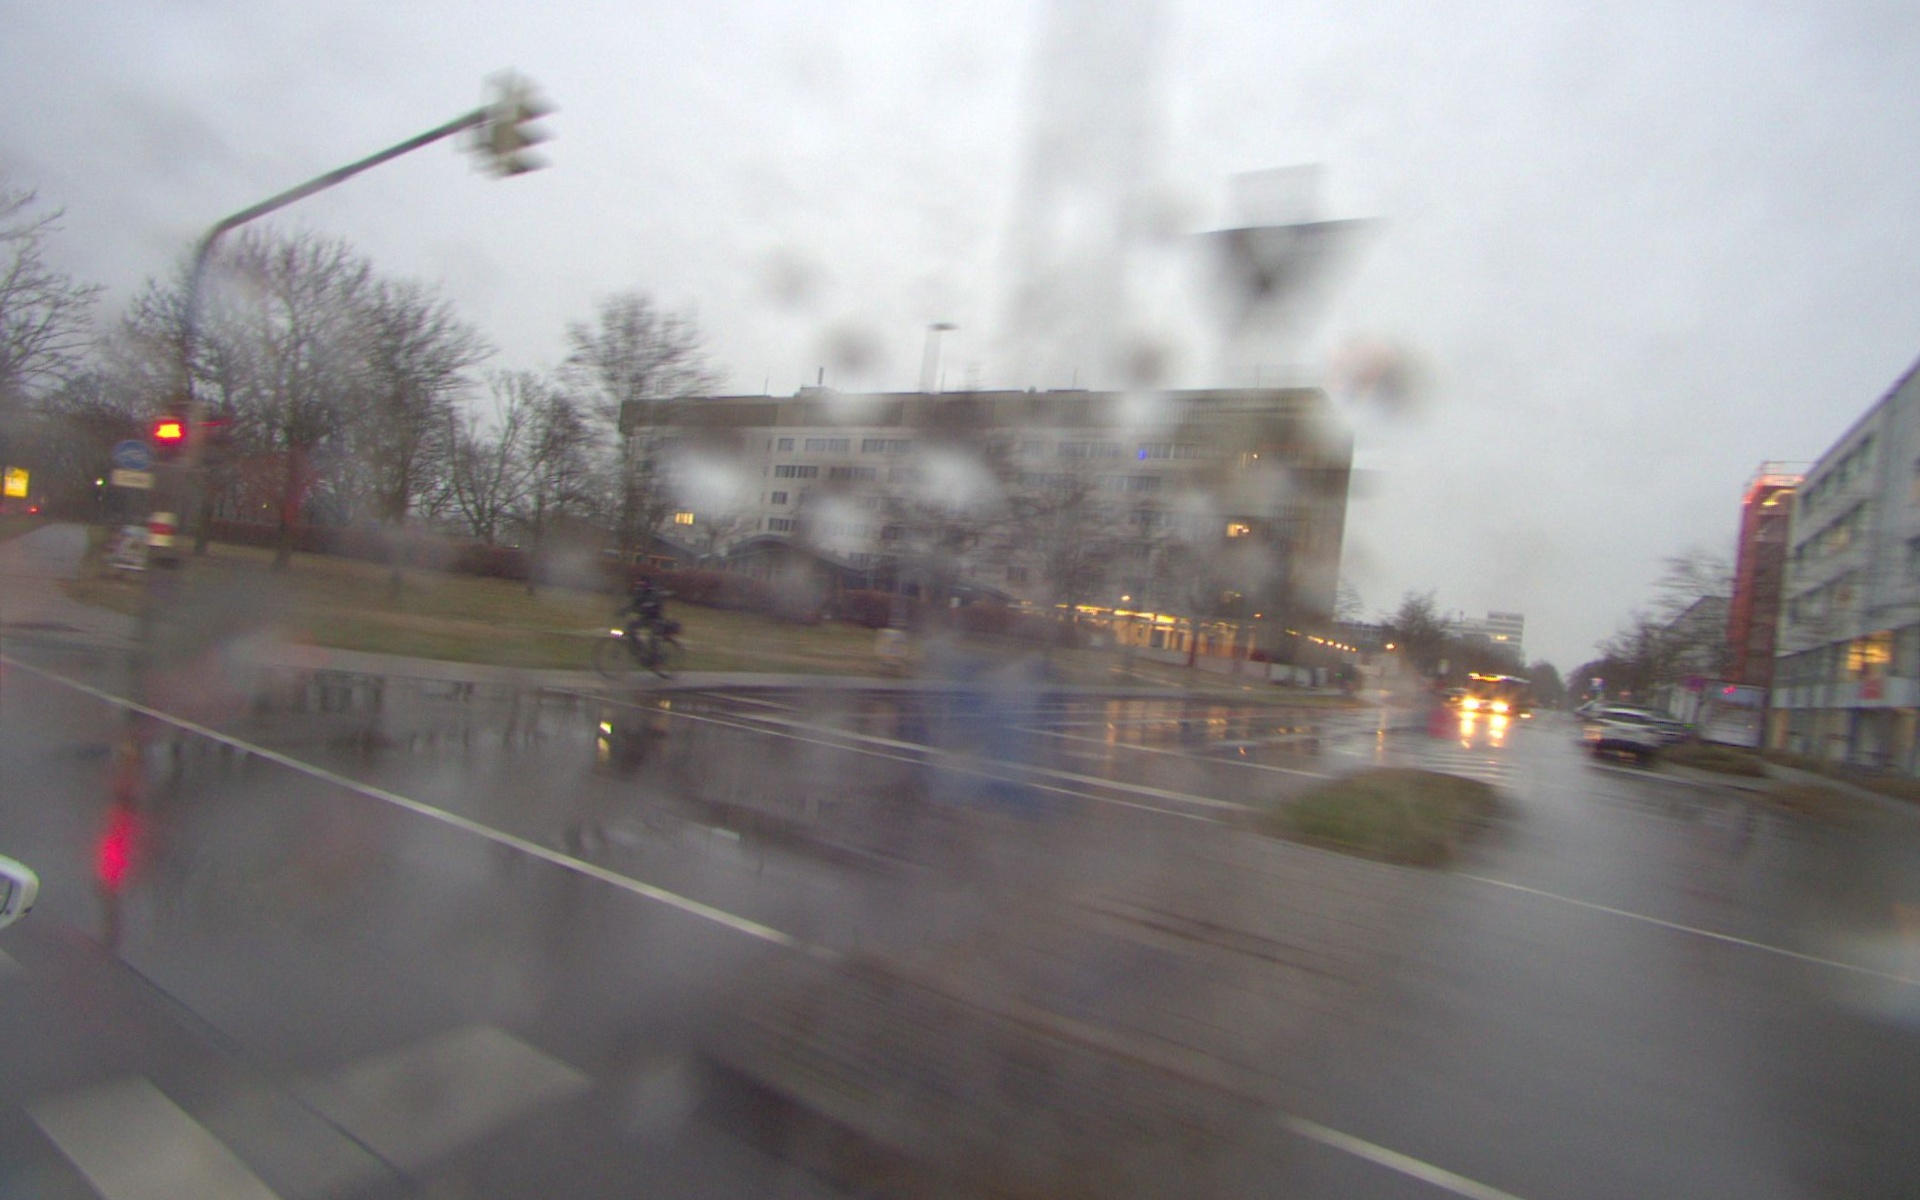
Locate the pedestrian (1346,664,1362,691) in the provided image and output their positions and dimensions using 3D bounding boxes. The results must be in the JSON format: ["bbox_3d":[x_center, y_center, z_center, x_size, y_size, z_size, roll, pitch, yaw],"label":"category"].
[{"bbox_3d":[30.623,6.009,78.139,0.790,2.036,0.639,5,-3,38],"label":"pedestrian"}]

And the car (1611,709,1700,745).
[{"bbox_3d":[40.676,7.447,58.941,4.057,1.545,1.605,5,-4,32],"label":"car"}]

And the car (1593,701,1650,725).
[{"bbox_3d":[54.504,9.294,82.903,3.805,1.470,1.669,5,-4,34],"label":"car"}]

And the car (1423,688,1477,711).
[{"bbox_3d":[42.783,8.680,87.850,3.940,1.495,1.831,5,-4,37],"label":"car"}]

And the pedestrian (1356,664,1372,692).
[{"bbox_3d":[30.909,5.957,76.921,0.802,2.036,0.750,5,-3,33],"label":"pedestrian"}]

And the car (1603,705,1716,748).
[{"bbox_3d":[37.000,6.695,53.358,4.738,1.573,1.770,5,-4,35],"label":"car"}]

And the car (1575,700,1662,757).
[{"bbox_3d":[23.138,4.504,35.468,1.964,1.654,3.281,6,-4,25],"label":"car"}]

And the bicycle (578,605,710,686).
[{"bbox_3d":[-5.593,0.835,17.906,1.022,1.230,1.967,8,0,28],"label":"bicycle"}]

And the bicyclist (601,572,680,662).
[{"bbox_3d":[-5.632,0.296,17.740,0.912,1.446,0.752,5,-3,34],"label":"bicyclist"}]

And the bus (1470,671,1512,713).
[{"bbox_3d":[42.305,7.359,80.064,2.259,2.741,8.141,5,-4,32],"label":"bus"}]
